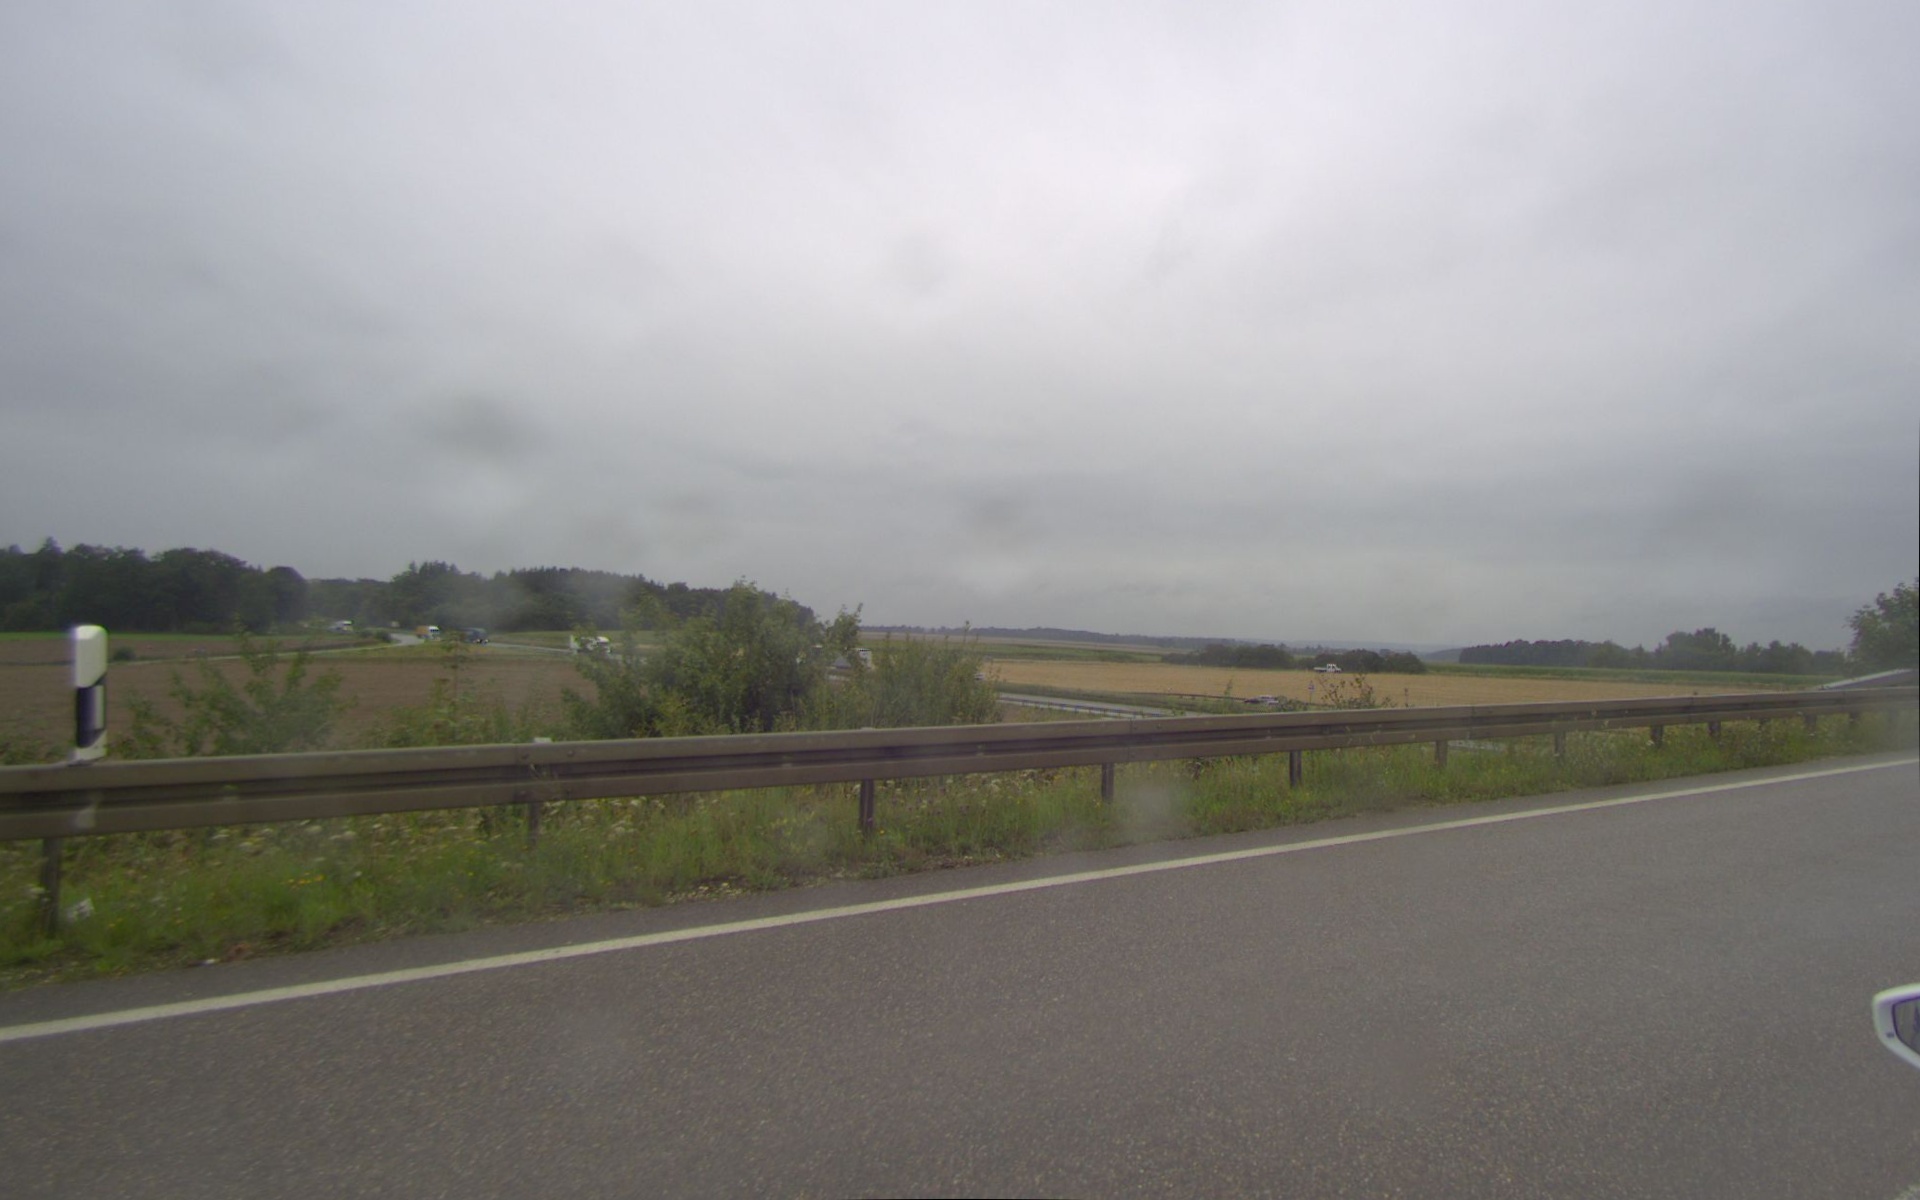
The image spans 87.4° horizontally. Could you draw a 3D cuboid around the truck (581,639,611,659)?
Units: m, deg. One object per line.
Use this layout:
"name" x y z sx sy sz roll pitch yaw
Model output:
"truck" -80.903 10.929 223.187 2.764 3.920 10.519 4 -2 -40
